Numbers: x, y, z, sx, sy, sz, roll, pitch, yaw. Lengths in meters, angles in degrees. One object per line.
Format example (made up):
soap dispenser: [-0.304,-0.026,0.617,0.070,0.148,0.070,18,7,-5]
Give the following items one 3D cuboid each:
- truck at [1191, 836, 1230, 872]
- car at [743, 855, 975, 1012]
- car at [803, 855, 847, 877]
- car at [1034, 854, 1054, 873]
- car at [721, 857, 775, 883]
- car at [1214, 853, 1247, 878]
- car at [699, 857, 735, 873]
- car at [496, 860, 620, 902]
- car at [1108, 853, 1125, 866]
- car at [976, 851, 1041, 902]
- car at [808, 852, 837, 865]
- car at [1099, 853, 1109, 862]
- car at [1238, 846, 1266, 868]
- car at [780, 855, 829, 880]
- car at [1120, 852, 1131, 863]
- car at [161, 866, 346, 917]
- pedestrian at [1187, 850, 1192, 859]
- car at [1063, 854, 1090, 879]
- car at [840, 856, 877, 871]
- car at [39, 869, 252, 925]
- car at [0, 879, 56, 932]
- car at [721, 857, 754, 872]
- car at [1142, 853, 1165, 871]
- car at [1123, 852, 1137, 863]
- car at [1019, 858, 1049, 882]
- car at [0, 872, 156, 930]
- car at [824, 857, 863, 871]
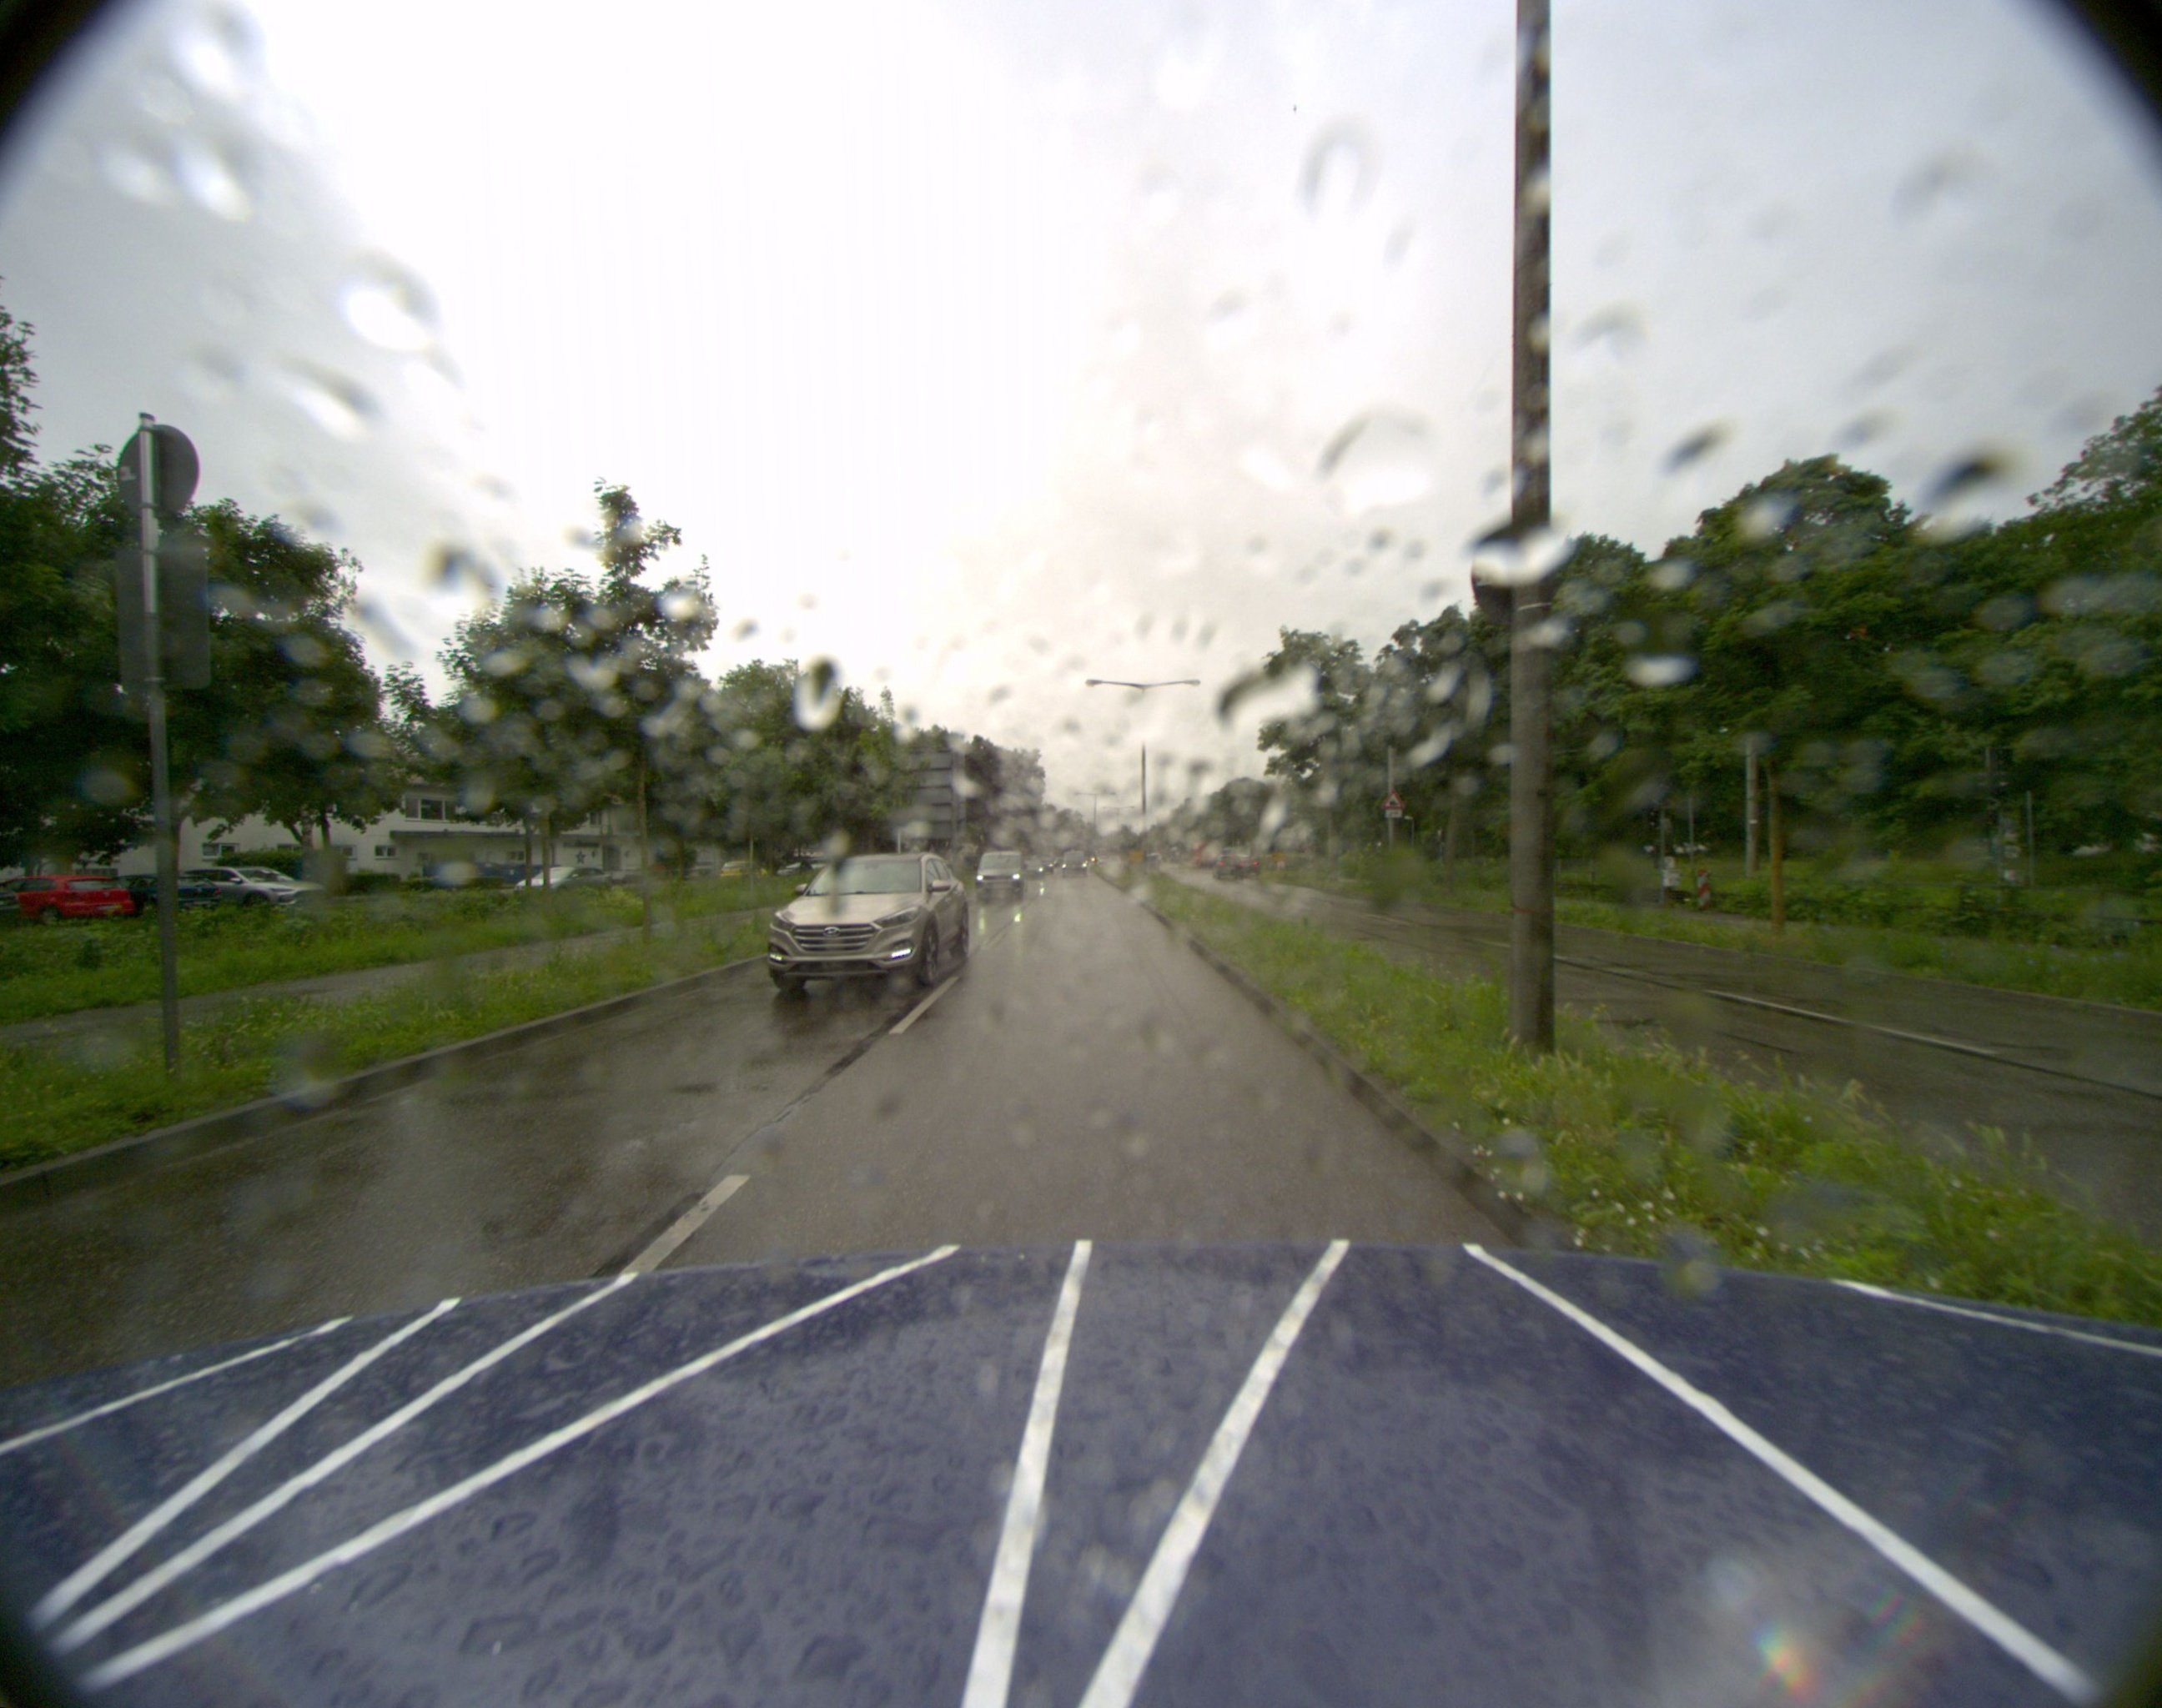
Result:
truck: [16.497,-0.069,97.445,3.393,4.143,10.406,-3,1,2]
car: [-2.700,0.869,10.351,1.889,1.601,4.195,-1,1,0]
car: [-21.251,0.934,63.212,1.999,1.707,4.878,0,1,0]
car: [-3.560,0.880,73.535,1.651,1.652,3.776,-3,1,0]
car: [-21.579,0.990,49.345,1.641,1.477,4.072,-3,1,0]
car: [10.300,0.789,52.561,1.710,1.632,4.332,1,0,4]
car: [-35.610,1.025,74.417,1.587,1.377,3.999,-3,1,0]
car: [-22.459,1.115,32.904,1.998,1.616,4.642,0,1,2]
car: [4.475,0.680,95.773,1.966,1.607,4.697,-1,0,2]
car: [-2.802,0.816,30.438,1.998,1.785,4.562,-2,0,1]
car: [-43.188,0.788,126.969,4.185,1.953,1.928,-2,1,23]
car: [4.422,0.607,144.334,1.740,1.535,4.014,-1,1,4]
car: [15.752,0.278,70.035,1.997,1.817,4.773,-3,1,7]
car: [-20.805,0.971,57.398,1.999,1.707,4.641,0,1,0]
car: [7.543,0.578,128.827,1.810,1.763,5.089,0,0,2]
car: [-29.494,1.299,27.211,4.346,1.495,1.923,-3,1,-2]
pedestrian: [20.100,0.047,141.281,0.782,1.648,0.804,-3,1,5]
car: [-0.301,0.933,58.164,1.812,1.683,3.777,-3,1,3]
car: [-24.027,1.015,82.068,3.395,1.344,1.521,-3,1,-44]
car: [-30.312,1.366,24.745,4.346,1.475,1.945,-3,1,-2]
car: [-30.318,1.471,19.914,4.190,1.332,1.867,-3,1,-2]
car: [-33.621,0.989,74.436,1.576,1.308,3.701,-2,1,-1]
car: [6.771,0.725,70.935,1.748,1.640,4.136,1,0,1]
car: [7.173,0.513,112.356,1.805,1.560,4.428,1,1,1]
car: [-3.445,1.180,56.461,1.858,1.583,4.000,-3,1,1]
car: [-30.649,1.408,22.344,4.346,1.475,1.945,-3,1,-2]
car: [-26.322,1.099,84.214,1.665,1.441,3.759,-2,1,41]
